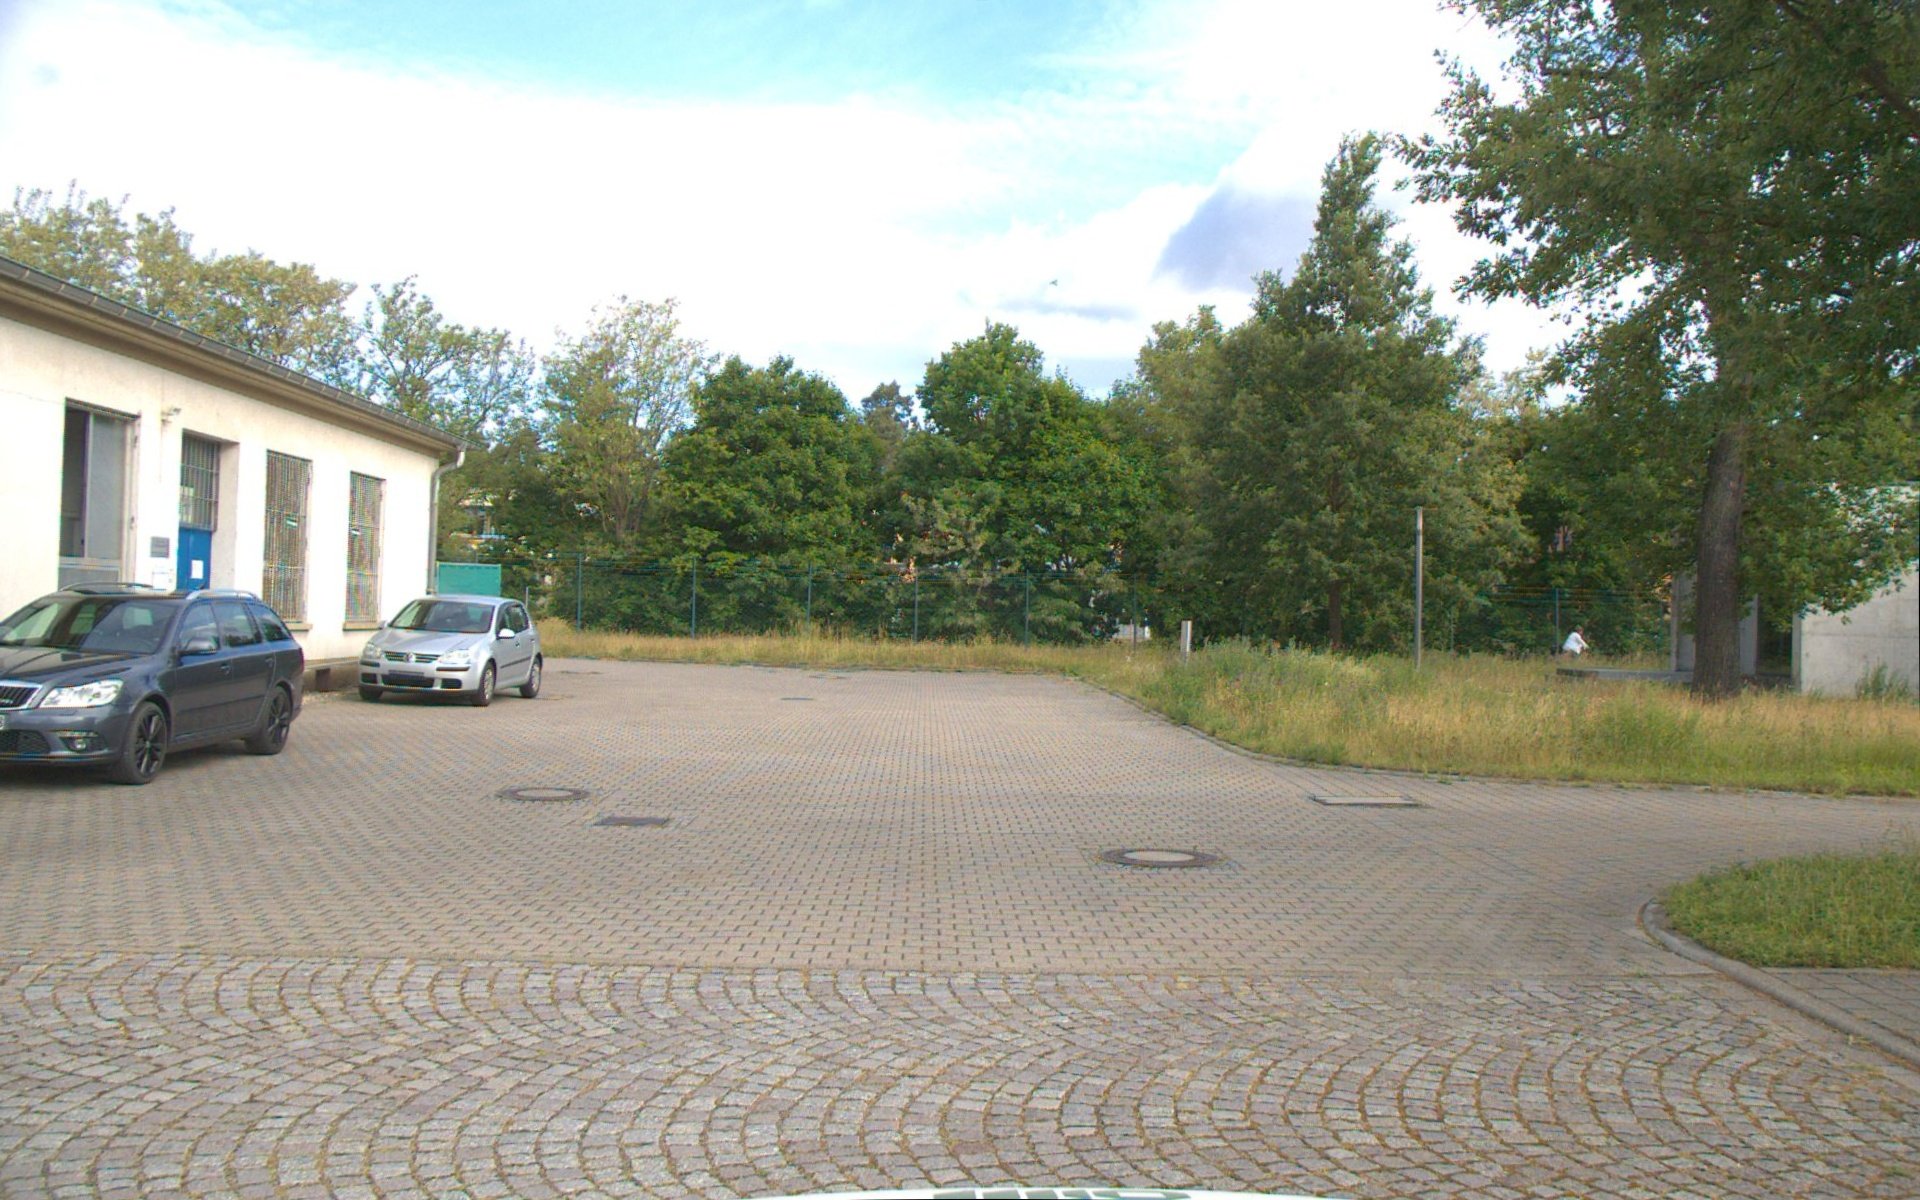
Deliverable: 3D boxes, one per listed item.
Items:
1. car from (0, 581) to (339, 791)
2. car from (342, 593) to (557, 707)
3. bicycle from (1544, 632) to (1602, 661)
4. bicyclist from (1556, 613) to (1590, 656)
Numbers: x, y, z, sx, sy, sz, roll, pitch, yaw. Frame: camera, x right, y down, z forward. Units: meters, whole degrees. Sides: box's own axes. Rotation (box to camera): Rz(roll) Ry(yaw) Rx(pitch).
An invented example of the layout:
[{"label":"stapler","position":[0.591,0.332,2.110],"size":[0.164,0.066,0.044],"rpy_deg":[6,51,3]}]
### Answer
[{"label":"car","position":[-7.059,0.608,14.049],"size":[1.886,1.464,4.808],"rpy_deg":[1,0,-2]},{"label":"car","position":[-7.244,0.668,23.938],"size":[1.886,1.464,4.366],"rpy_deg":[1,0,-2]},{"label":"bicycle","position":[18.122,1.378,48.885],"size":[1.486,0.805,0.588],"rpy_deg":[1,-1,-2]},{"label":"bicyclist","position":[18.119,1.012,48.912],"size":[0.754,1.228,0.588],"rpy_deg":[1,-1,-2]}]
